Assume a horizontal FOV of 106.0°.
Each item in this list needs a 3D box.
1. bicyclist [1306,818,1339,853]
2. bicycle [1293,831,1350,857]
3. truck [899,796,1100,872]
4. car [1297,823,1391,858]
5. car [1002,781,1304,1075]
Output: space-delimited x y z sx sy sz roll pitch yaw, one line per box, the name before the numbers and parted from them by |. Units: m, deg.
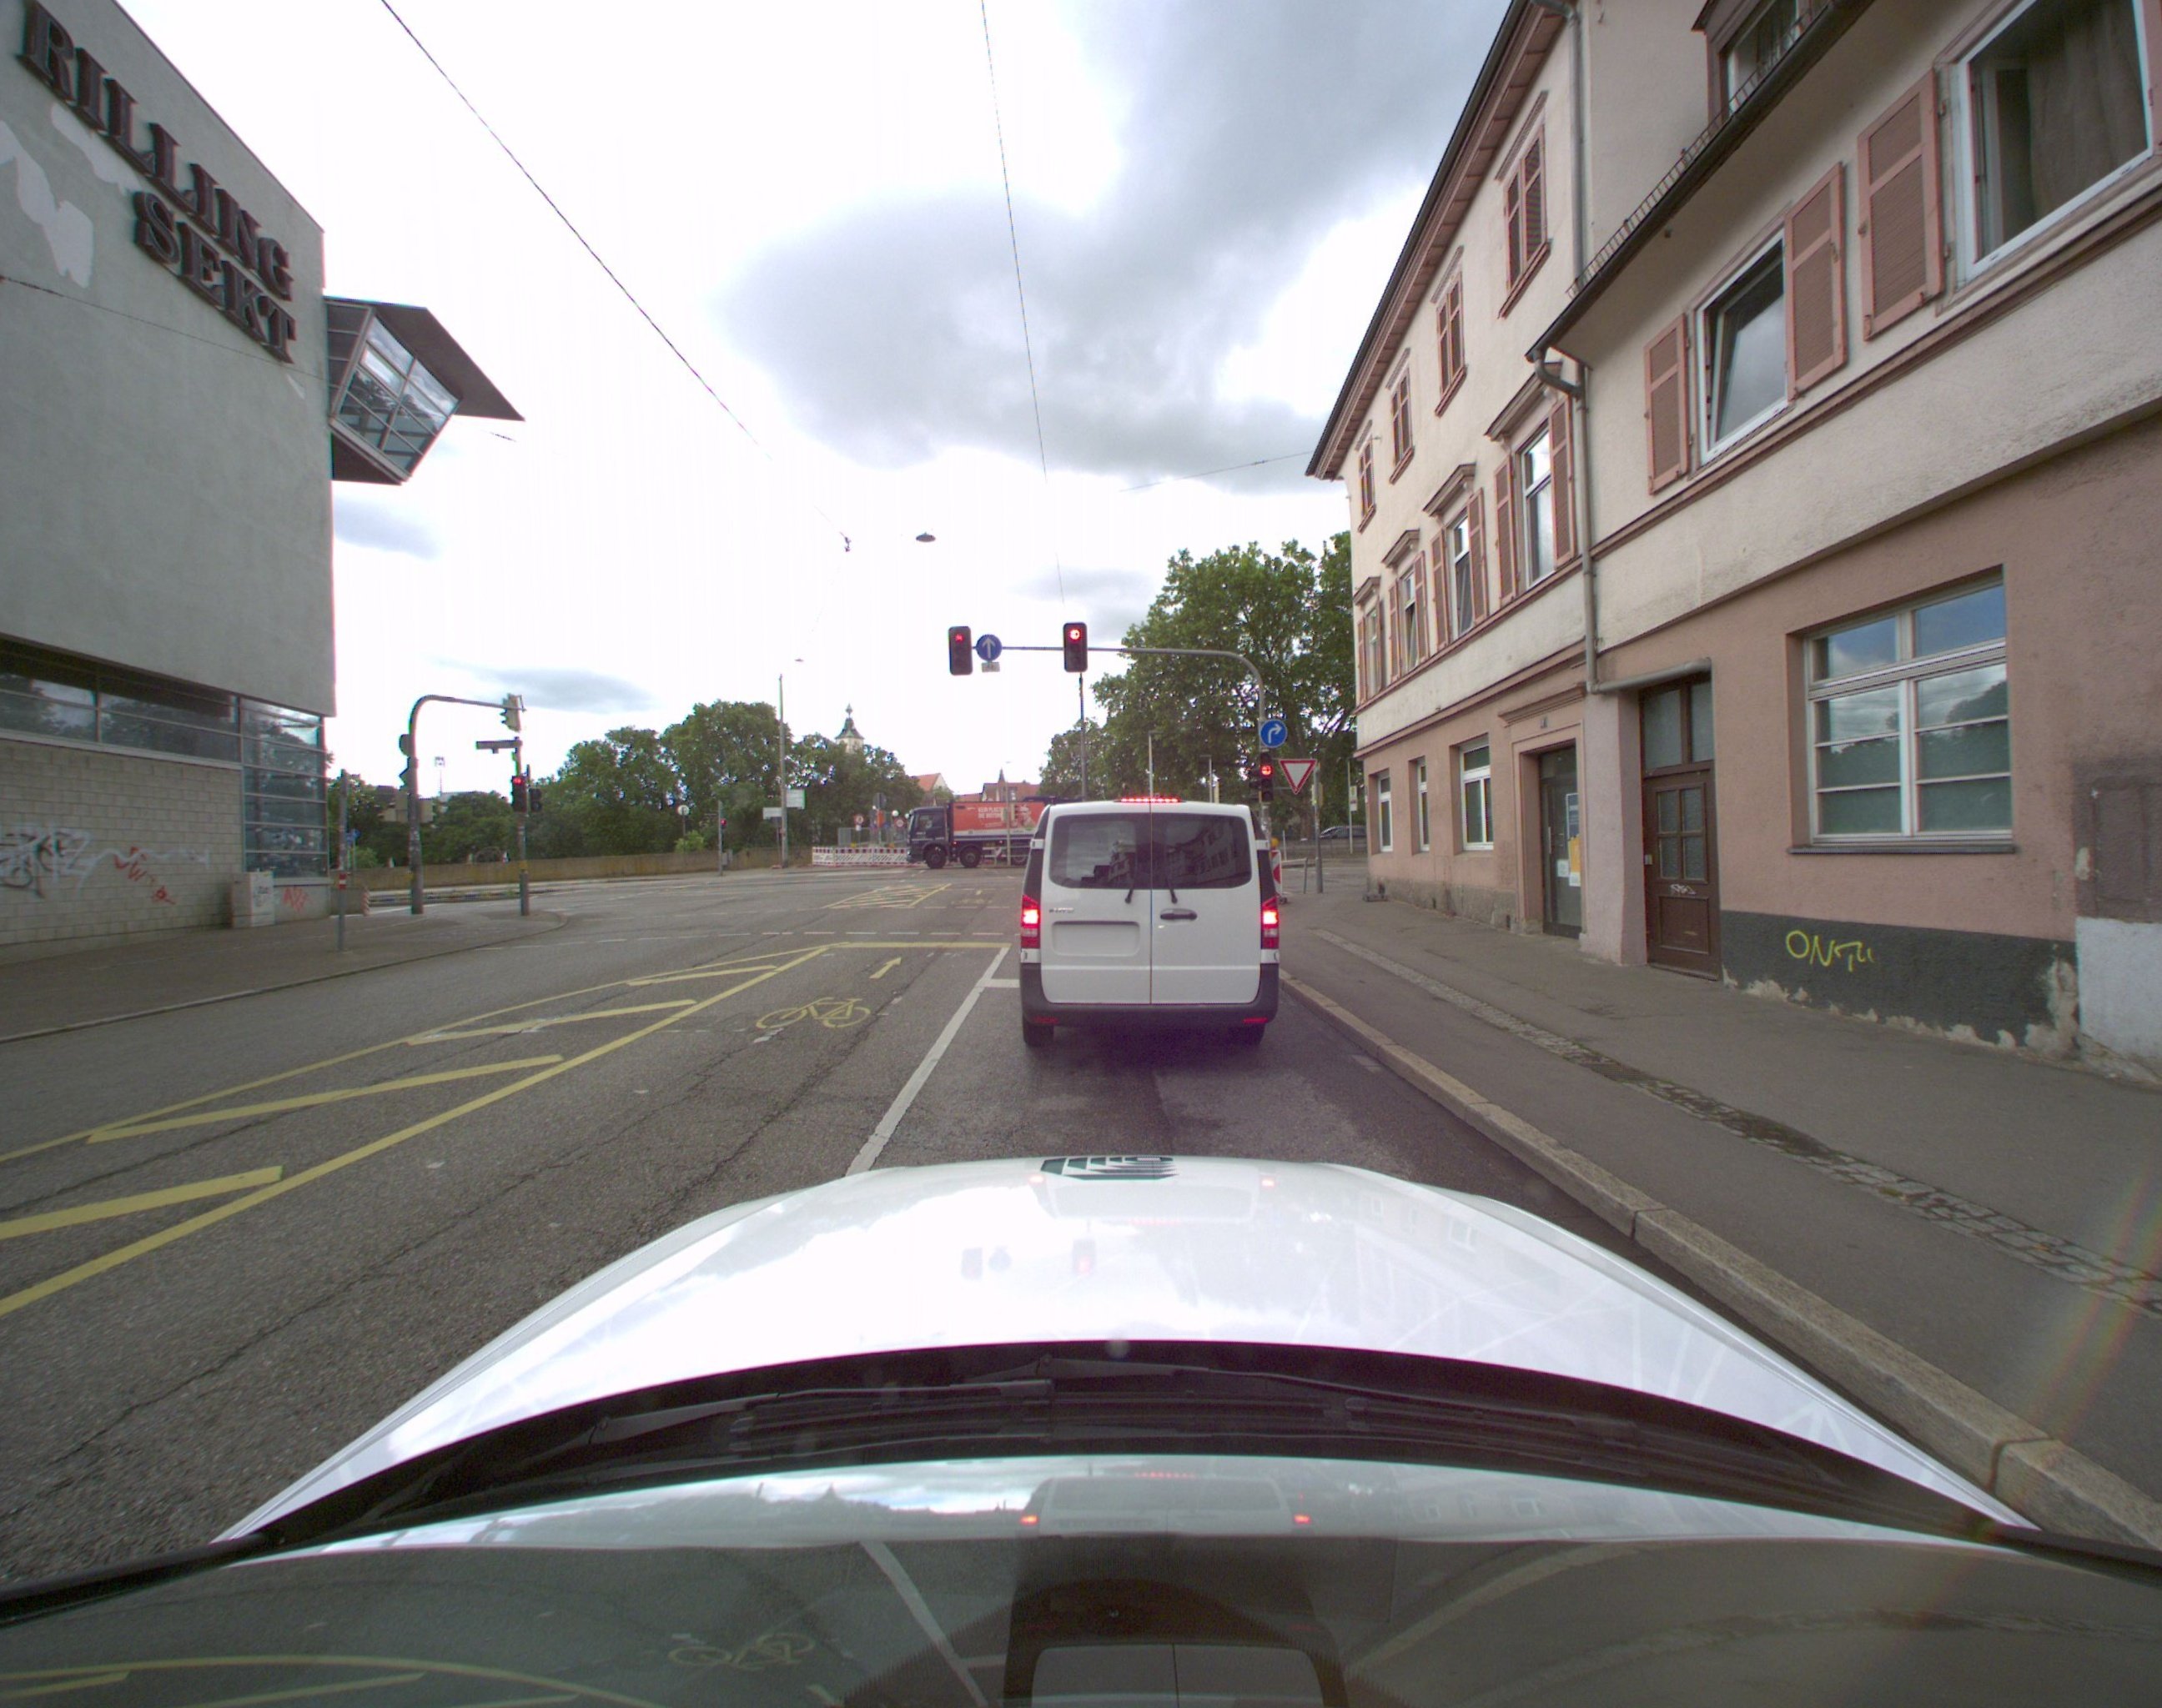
bicyclist | 15.398 -1.155 52.021 1.565 2.156 1.242 -2 0 -12
bicycle | 15.344 -0.617 52.045 3.147 1.569 1.464 -2 0 -12
truck | -4.238 -1.069 42.789 10.188 3.696 2.263 -1 0 -11
car | 14.610 -0.734 45.288 4.513 1.634 1.996 -3 0 -6
car | 0.485 0.425 7.508 1.987 1.922 4.249 -1 2 0
